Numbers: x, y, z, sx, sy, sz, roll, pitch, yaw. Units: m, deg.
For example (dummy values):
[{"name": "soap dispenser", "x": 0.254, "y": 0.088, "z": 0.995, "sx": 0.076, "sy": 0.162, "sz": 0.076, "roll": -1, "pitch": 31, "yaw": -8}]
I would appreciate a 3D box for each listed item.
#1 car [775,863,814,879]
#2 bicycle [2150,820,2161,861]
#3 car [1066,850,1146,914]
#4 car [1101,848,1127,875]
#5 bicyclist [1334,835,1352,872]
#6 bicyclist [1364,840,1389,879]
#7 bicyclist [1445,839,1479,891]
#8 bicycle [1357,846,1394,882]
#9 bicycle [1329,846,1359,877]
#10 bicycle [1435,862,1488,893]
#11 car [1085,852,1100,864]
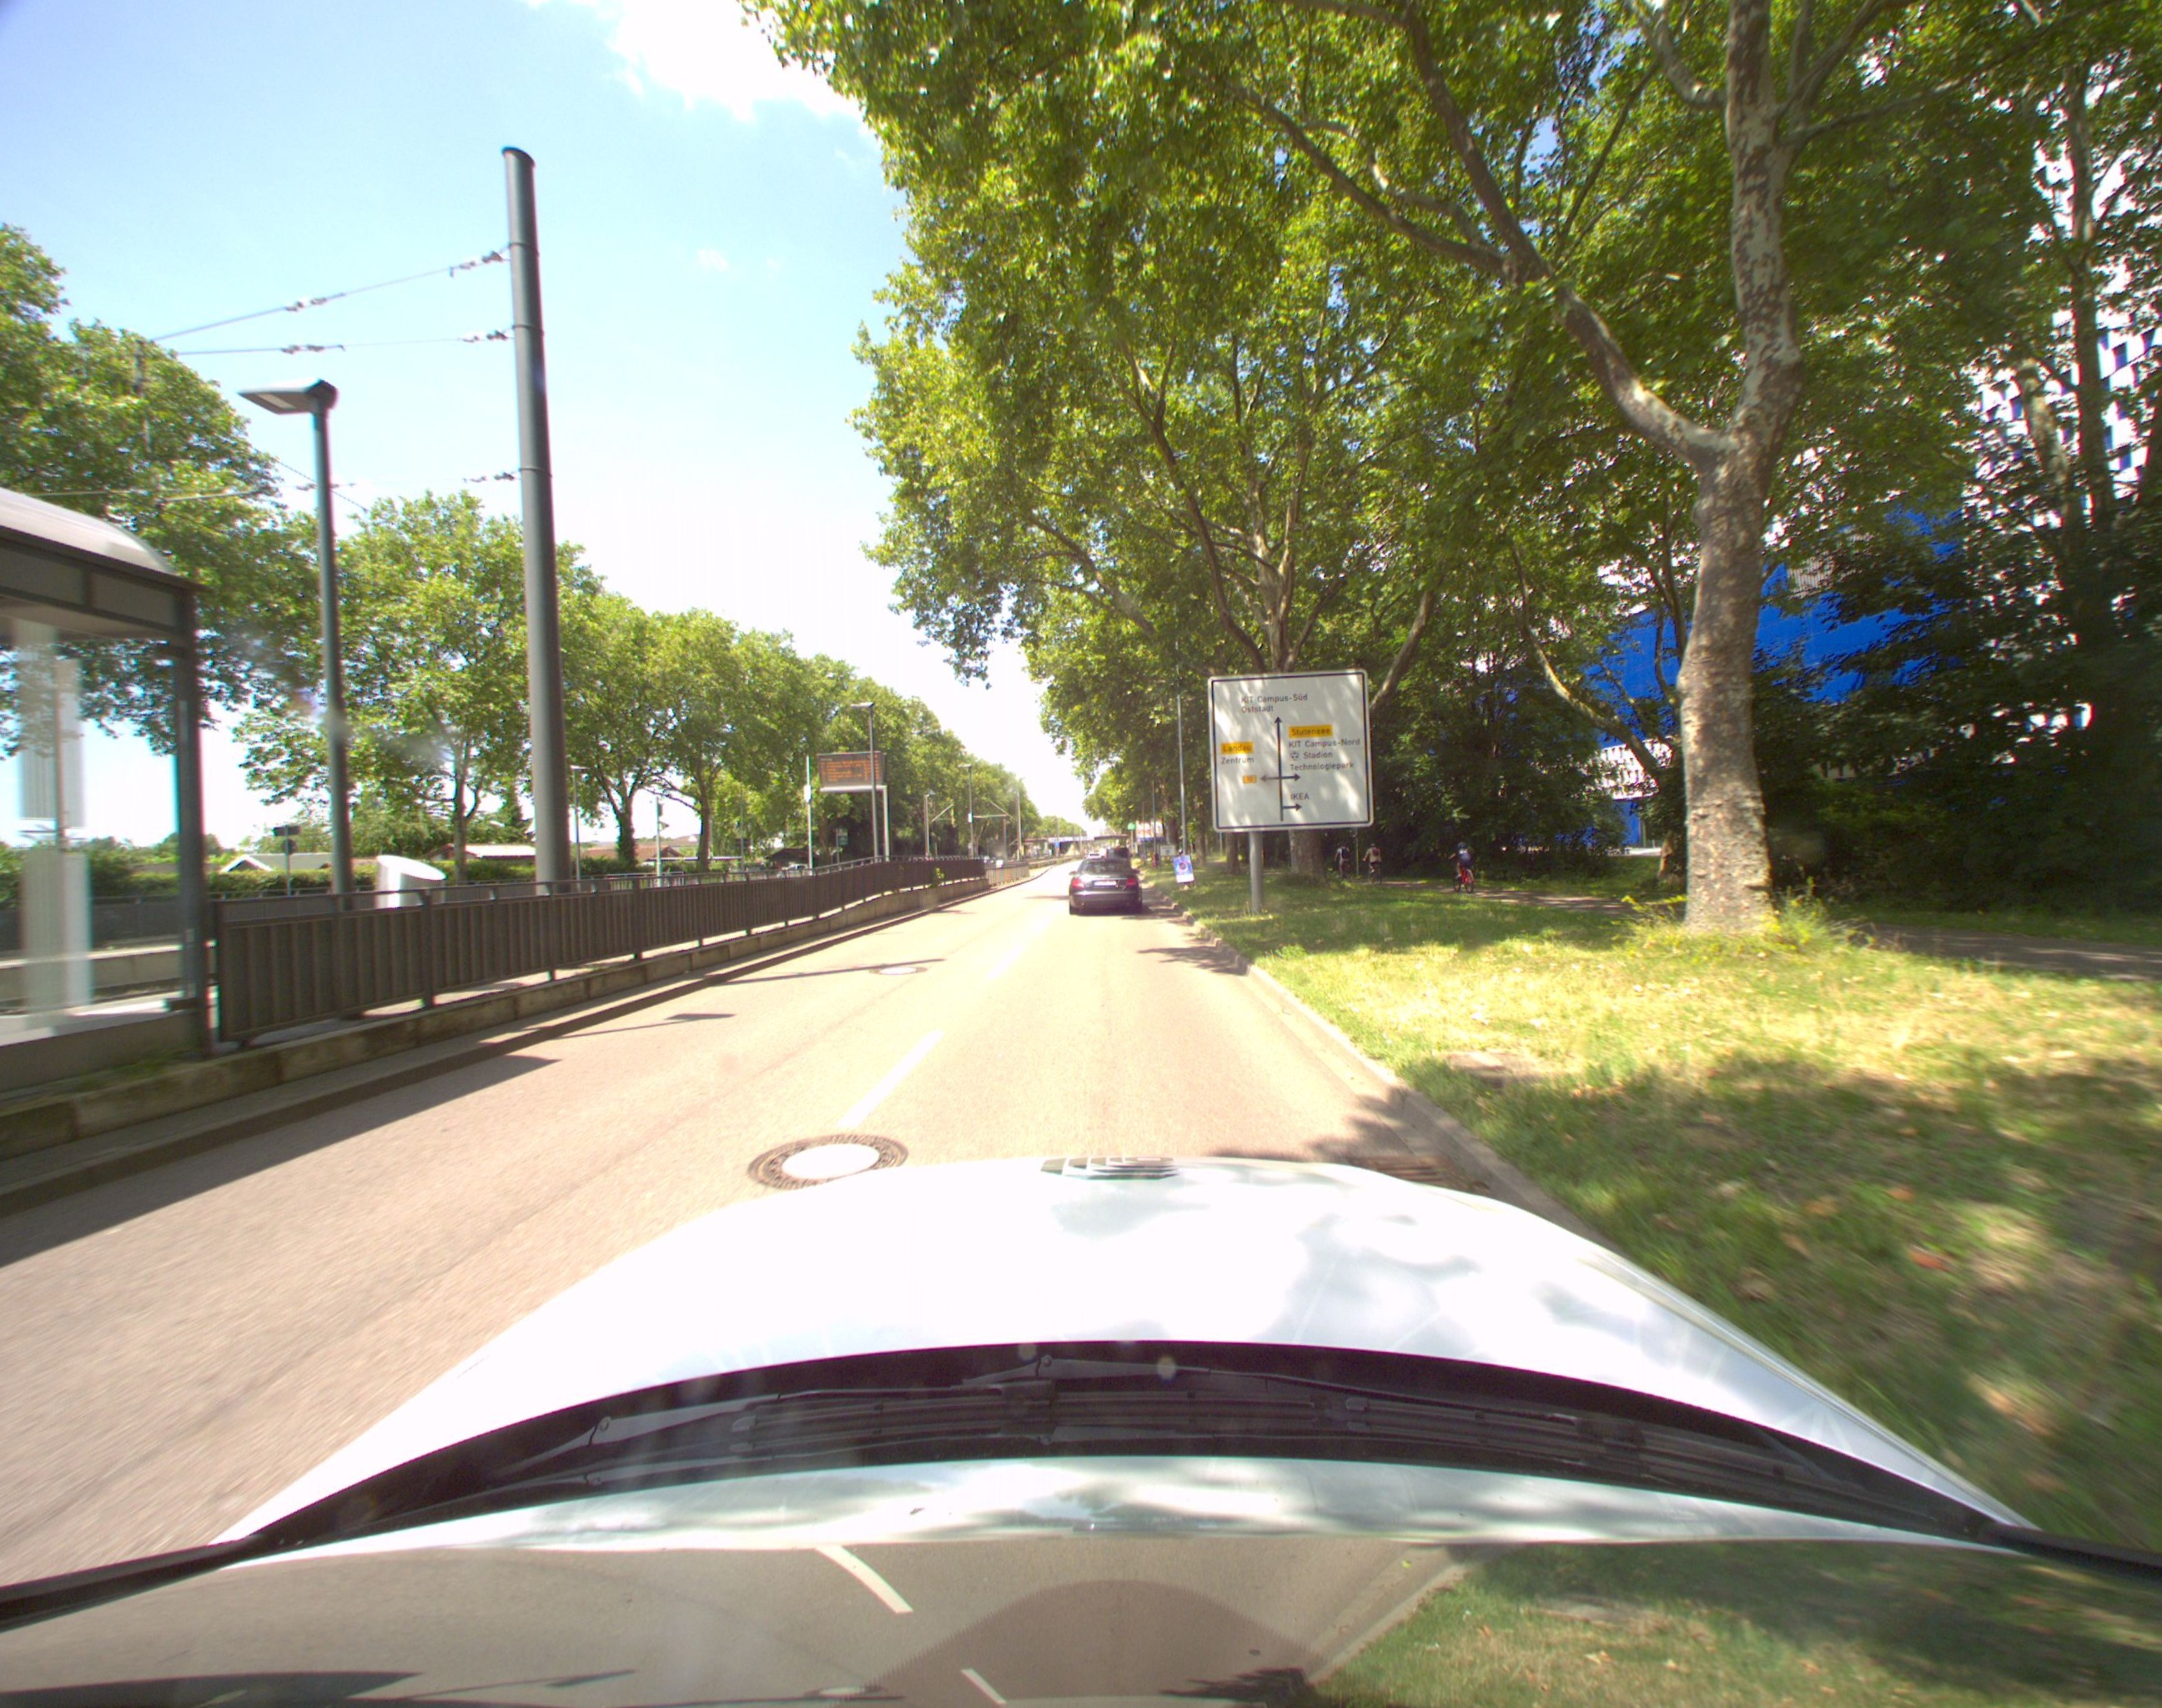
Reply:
[{"name": "car", "x": -28.399, "y": 1.708, "z": 80.851, "sx": 3.316, "sy": 1.475, "sz": 1.649, "roll": -2, "pitch": 0, "yaw": -10}, {"name": "bicycle", "x": 26.946, "y": -0.359, "z": 19.217, "sx": 2.539, "sy": 0.970, "sz": 0.758, "roll": -2, "pitch": 0, "yaw": -3}, {"name": "car", "x": 0.565, "y": 0.771, "z": 21.407, "sx": 1.838, "sy": 1.484, "sz": 3.996, "roll": 1, "pitch": -3, "yaw": -2}, {"name": "car", "x": 2.545, "y": 0.525, "z": 61.661, "sx": 1.840, "sy": 1.959, "sz": 4.149, "roll": -1, "pitch": 0, "yaw": 4}, {"name": "bicyclist", "x": 12.546, "y": -0.011, "z": 39.059, "sx": 0.595, "sy": 1.746, "sz": 0.843, "roll": -1, "pitch": 0, "yaw": 2}, {"name": "bicyclist", "x": 12.330, "y": 0.230, "z": 34.005, "sx": 0.656, "sy": 1.599, "sz": 1.054, "roll": -2, "pitch": 0, "yaw": 2}, {"name": "bicyclist", "x": 11.996, "y": 0.335, "z": 25.632, "sx": 0.621, "sy": 1.610, "sz": 0.815, "roll": -2, "pitch": 0, "yaw": -4}, {"name": "bicycle", "x": 12.348, "y": 0.410, "z": 34.232, "sx": 0.608, "sy": 1.420, "sz": 2.663, "roll": -2, "pitch": 0, "yaw": 2}, {"name": "bicycle", "x": 12.579, "y": 0.324, "z": 38.954, "sx": 0.608, "sy": 1.420, "sz": 2.663, "roll": -2, "pitch": 0, "yaw": 2}, {"name": "bicycle", "x": 11.999, "y": 0.715, "z": 25.761, "sx": 0.644, "sy": 0.887, "sz": 2.021, "roll": -2, "pitch": 0, "yaw": -3}, {"name": "car", "x": 1.420, "y": 0.493, "z": 103.286, "sx": 1.839, "sy": 1.464, "sz": 4.000, "roll": -2, "pitch": 0, "yaw": 0}]
